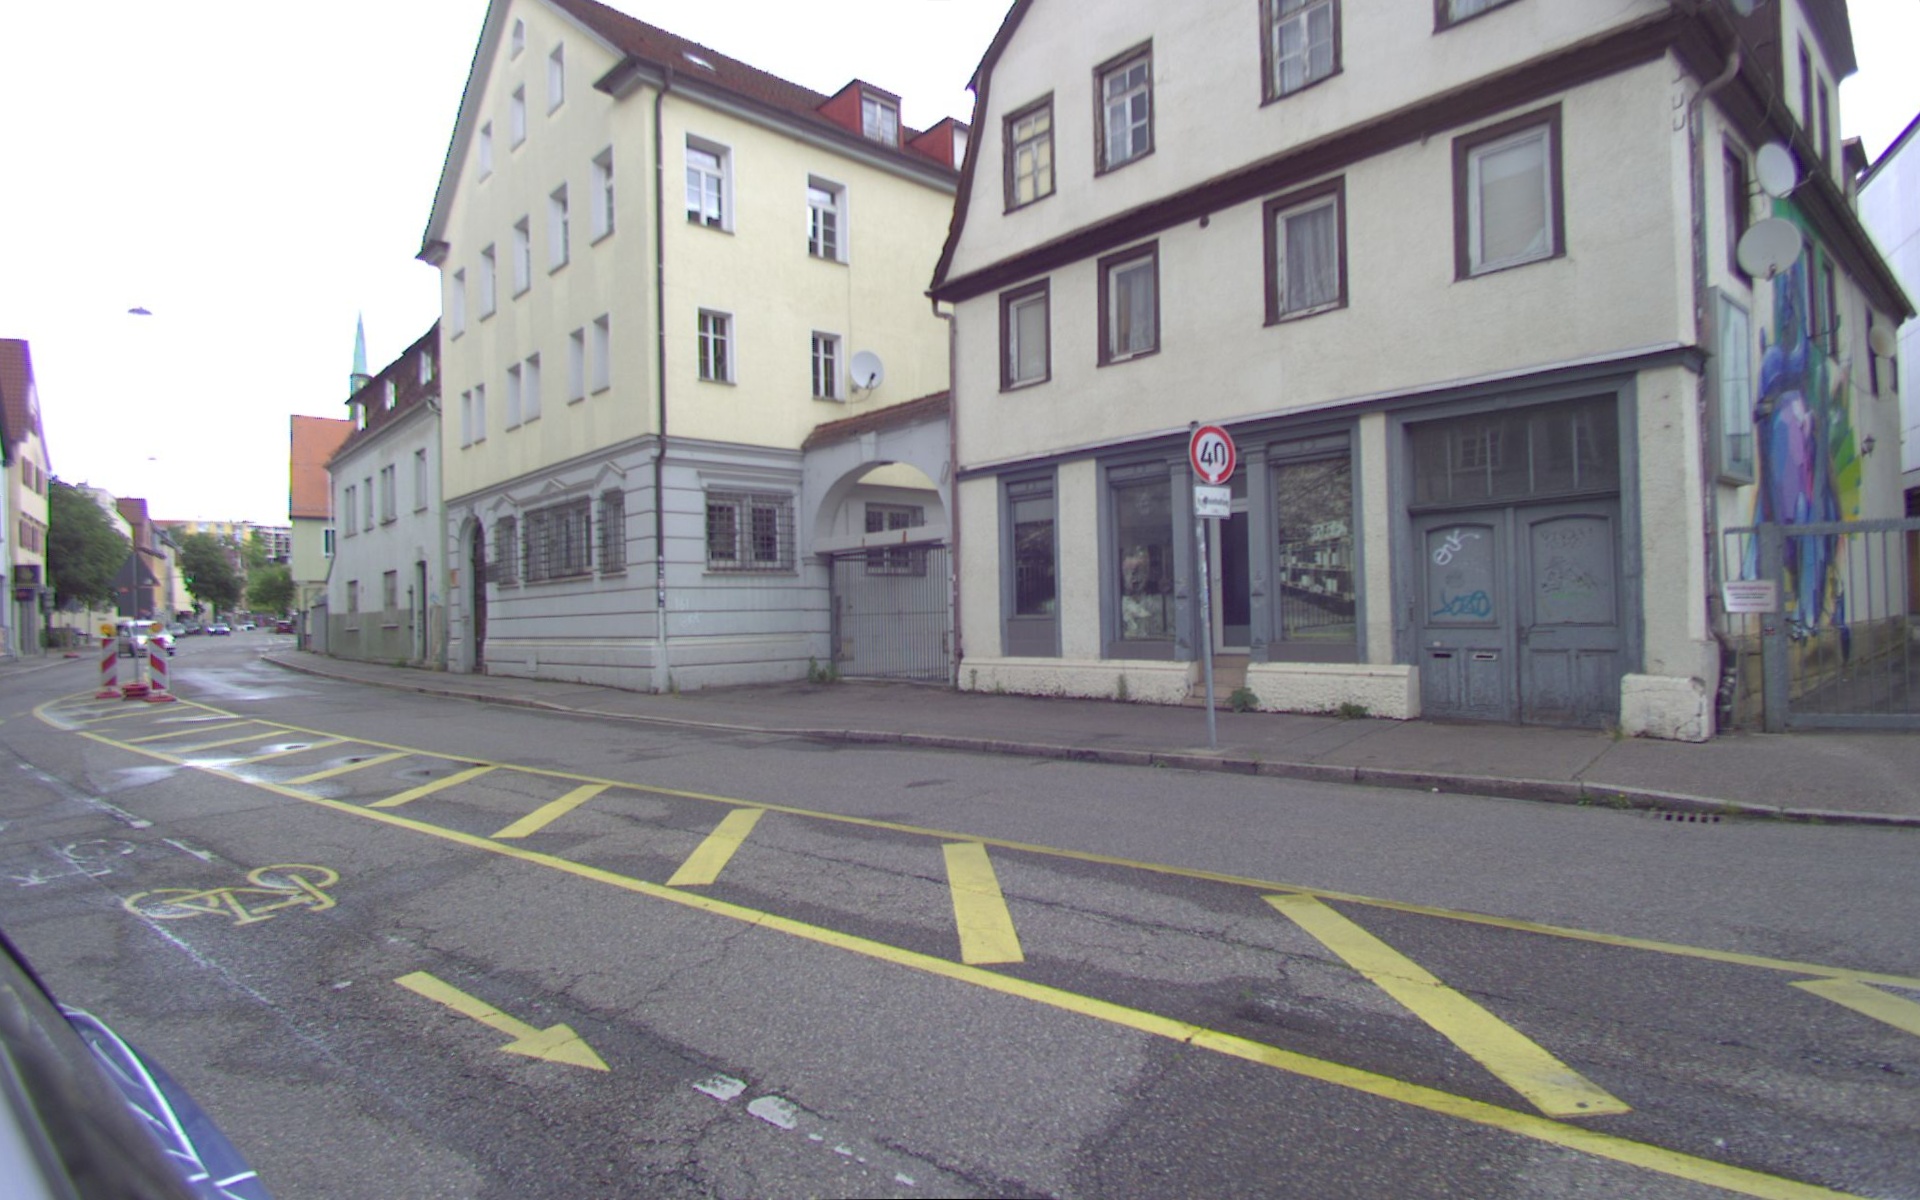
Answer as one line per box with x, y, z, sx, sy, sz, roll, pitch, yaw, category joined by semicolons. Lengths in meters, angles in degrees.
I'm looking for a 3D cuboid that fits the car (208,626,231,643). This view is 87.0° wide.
-83.040;3.869;113.506;1.967;1.691;4.010;-1;0;-34;car

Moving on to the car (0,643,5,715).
-19.178;1.526;18.686;1.659;1.438;4.031;0;-2;-35;car

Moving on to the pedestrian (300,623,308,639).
-86.059;4.096;132.706;0.823;2.029;0.847;-1;-2;-36;pedestrian

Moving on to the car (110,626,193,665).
-40.505;2.229;50.669;4.454;1.800;1.978;-1;-1;33;car

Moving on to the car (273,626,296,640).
-84.925;4.089;127.199;2.178;1.690;4.509;1;-1;-36;car
